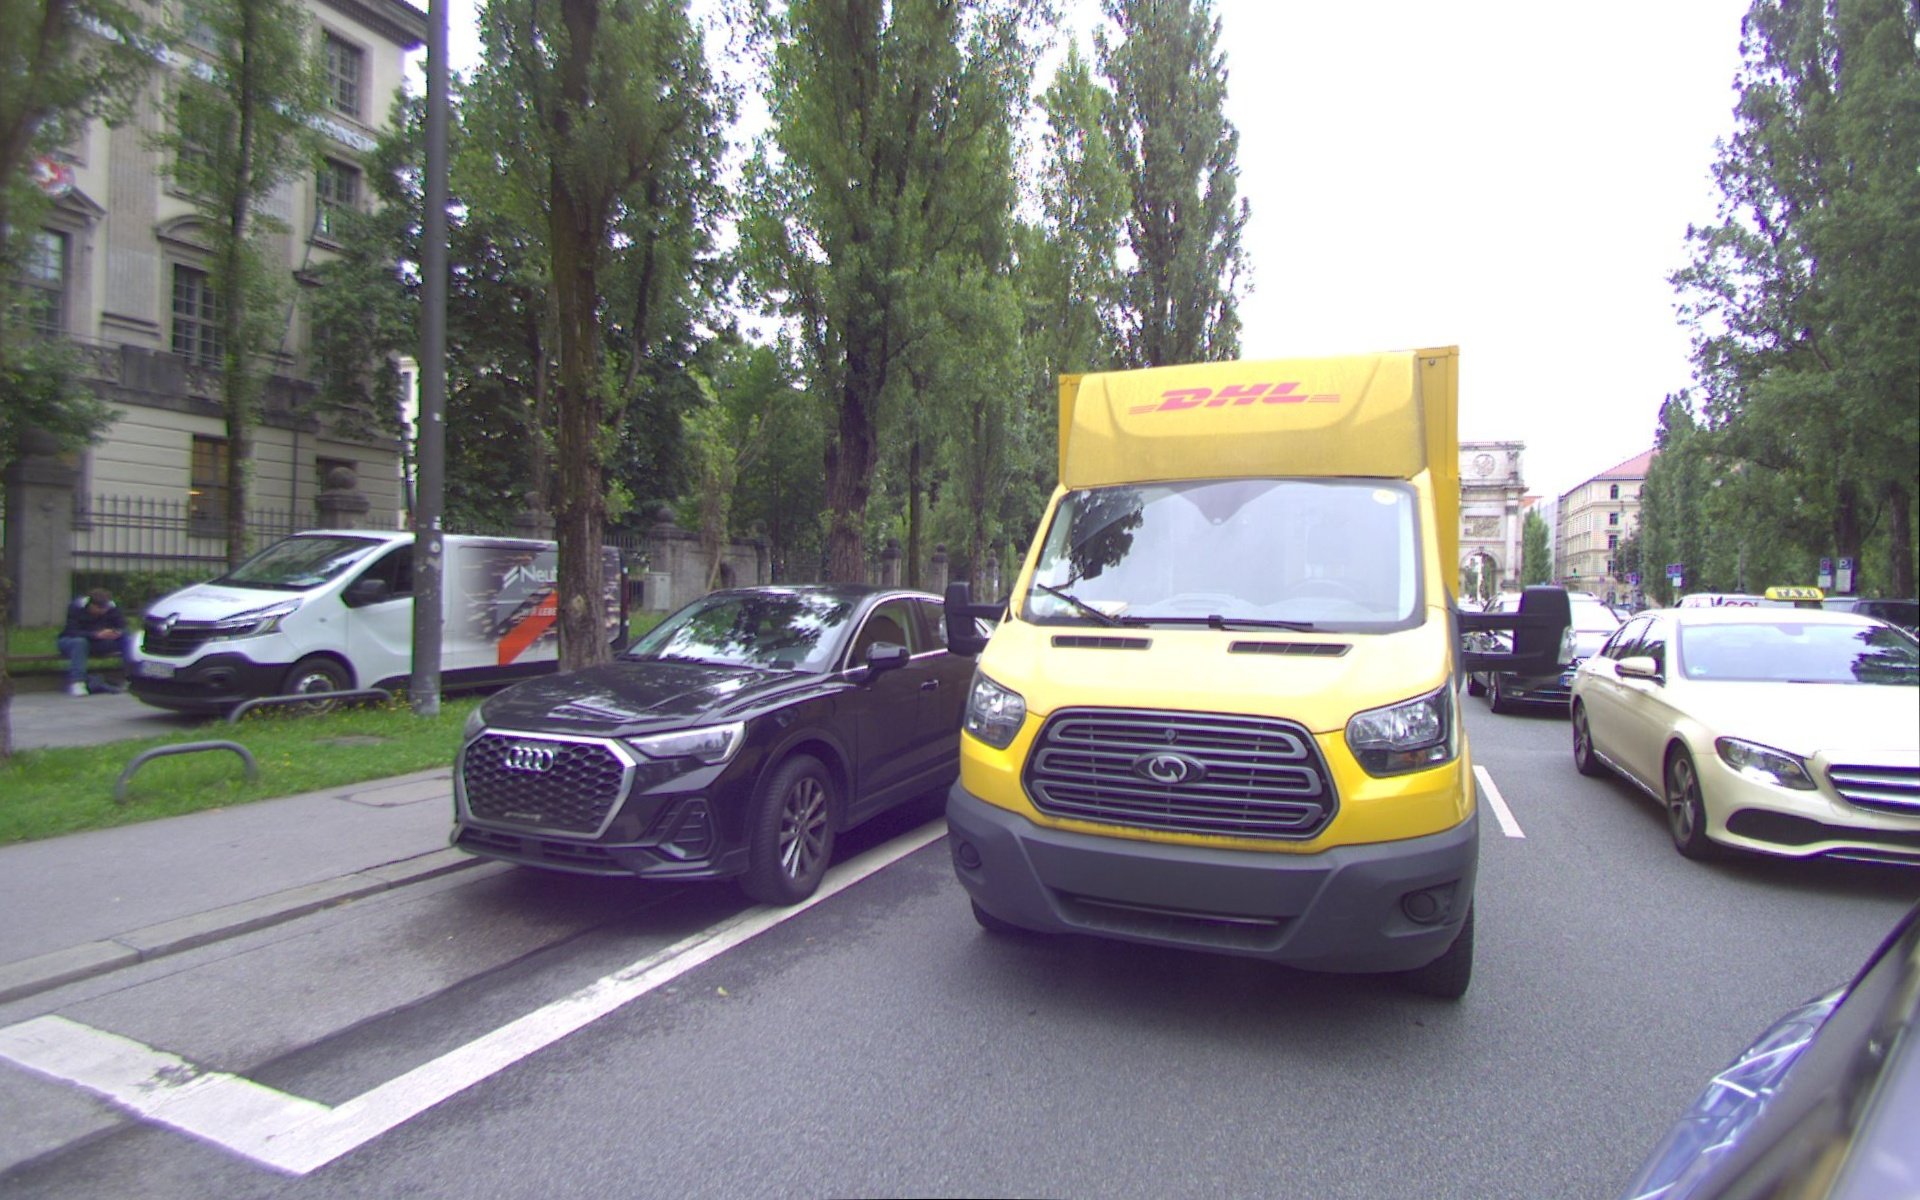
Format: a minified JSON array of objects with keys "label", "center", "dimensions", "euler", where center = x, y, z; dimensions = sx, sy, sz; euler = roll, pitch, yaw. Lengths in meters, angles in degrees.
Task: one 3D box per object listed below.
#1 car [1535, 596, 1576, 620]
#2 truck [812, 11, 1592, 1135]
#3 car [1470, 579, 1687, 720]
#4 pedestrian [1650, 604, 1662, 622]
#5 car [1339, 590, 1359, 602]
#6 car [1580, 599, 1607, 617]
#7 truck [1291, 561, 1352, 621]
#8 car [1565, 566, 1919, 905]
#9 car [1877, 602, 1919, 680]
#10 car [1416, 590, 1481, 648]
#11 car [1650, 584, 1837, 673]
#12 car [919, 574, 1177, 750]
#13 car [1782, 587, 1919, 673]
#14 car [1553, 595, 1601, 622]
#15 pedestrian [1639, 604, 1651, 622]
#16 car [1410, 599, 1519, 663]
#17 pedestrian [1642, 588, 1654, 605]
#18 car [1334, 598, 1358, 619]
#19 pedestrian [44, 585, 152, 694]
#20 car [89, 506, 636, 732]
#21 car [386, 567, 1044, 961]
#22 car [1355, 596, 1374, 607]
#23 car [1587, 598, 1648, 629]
[{"label":"car","center":[43.363,0.536,73.740],"dimensions":[1.804,1.578,4.822],"euler":[4,2,22]},{"label":"truck","center":[1.927,-0.116,6.472],"dimensions":[2.308,2.934,7.278],"euler":[1,1,22]},{"label":"car","center":[8.457,0.561,14.258],"dimensions":[1.932,1.645,4.378],"euler":[-1,0,23]},{"label":"pedestrian","center":[66.824,1.288,97.212],"dimensions":[0.843,1.699,0.952],"euler":[2,0,40]},{"label":"car","center":[63.425,-0.634,164.919],"dimensions":[1.780,1.772,4.259],"euler":[2,1,39]},{"label":"car","center":[76.741,0.942,122.636],"dimensions":[1.985,1.877,4.949],"euler":[3,2,24]},{"label":"truck","center":[21.161,-0.524,58.925],"dimensions":[2.692,3.149,10.344],"euler":[2,1,23]},{"label":"car","center":[5.606,0.613,6.823],"dimensions":[1.898,1.595,4.654],"euler":[-1,0,22]},{"label":"car","center":[20.927,0.936,20.483],"dimensions":[1.801,1.628,5.014],"euler":[4,2,22]},{"label":"car","center":[17.233,0.612,35.838],"dimensions":[1.870,1.880,4.278],"euler":[1,1,23]},{"label":"car","center":[19.836,0.615,25.982],"dimensions":[2.164,1.915,5.655],"euler":[3,2,21]},{"label":"car","center":[1.196,0.560,11.480],"dimensions":[1.766,1.602,4.115],"euler":[-1,0,22]},{"label":"car","center":[23.617,0.741,26.360],"dimensions":[1.978,1.981,4.899],"euler":[3,1,22]},{"label":"car","center":[40.859,0.527,67.145],"dimensions":[1.922,1.644,4.927],"euler":[2,2,23]},{"label":"pedestrian","center":[66.211,1.275,97.873],"dimensions":[0.843,1.699,0.952],"euler":[2,0,40]},{"label":"car","center":[11.916,0.667,24.174],"dimensions":[1.901,1.344,4.380],"euler":[0,0,21]},{"label":"pedestrian","center":[80.800,-0.432,118.861],"dimensions":[0.778,2.039,0.758],"euler":[1,0,-12]},{"label":"car","center":[31.982,0.701,83.879],"dimensions":[1.788,1.649,3.971],"euler":[2,1,22]},{"label":"pedestrian","center":[-9.692,0.423,11.387],"dimensions":[0.697,1.156,0.719],"euler":[2,0,29]},{"label":"car","center":[-6.270,0.124,11.559],"dimensions":[1.977,1.949,5.285],"euler":[1,1,22]},{"label":"car","center":[-0.986,0.612,6.242],"dimensions":[1.712,1.514,4.289],"euler":[1,1,24]},{"label":"car","center":[67.636,0.331,169.245],"dimensions":[1.780,1.772,4.258],"euler":[2,1,39]},{"label":"car","center":[35.037,0.695,54.015],"dimensions":[1.916,1.516,4.751],"euler":[2,0,24]}]
